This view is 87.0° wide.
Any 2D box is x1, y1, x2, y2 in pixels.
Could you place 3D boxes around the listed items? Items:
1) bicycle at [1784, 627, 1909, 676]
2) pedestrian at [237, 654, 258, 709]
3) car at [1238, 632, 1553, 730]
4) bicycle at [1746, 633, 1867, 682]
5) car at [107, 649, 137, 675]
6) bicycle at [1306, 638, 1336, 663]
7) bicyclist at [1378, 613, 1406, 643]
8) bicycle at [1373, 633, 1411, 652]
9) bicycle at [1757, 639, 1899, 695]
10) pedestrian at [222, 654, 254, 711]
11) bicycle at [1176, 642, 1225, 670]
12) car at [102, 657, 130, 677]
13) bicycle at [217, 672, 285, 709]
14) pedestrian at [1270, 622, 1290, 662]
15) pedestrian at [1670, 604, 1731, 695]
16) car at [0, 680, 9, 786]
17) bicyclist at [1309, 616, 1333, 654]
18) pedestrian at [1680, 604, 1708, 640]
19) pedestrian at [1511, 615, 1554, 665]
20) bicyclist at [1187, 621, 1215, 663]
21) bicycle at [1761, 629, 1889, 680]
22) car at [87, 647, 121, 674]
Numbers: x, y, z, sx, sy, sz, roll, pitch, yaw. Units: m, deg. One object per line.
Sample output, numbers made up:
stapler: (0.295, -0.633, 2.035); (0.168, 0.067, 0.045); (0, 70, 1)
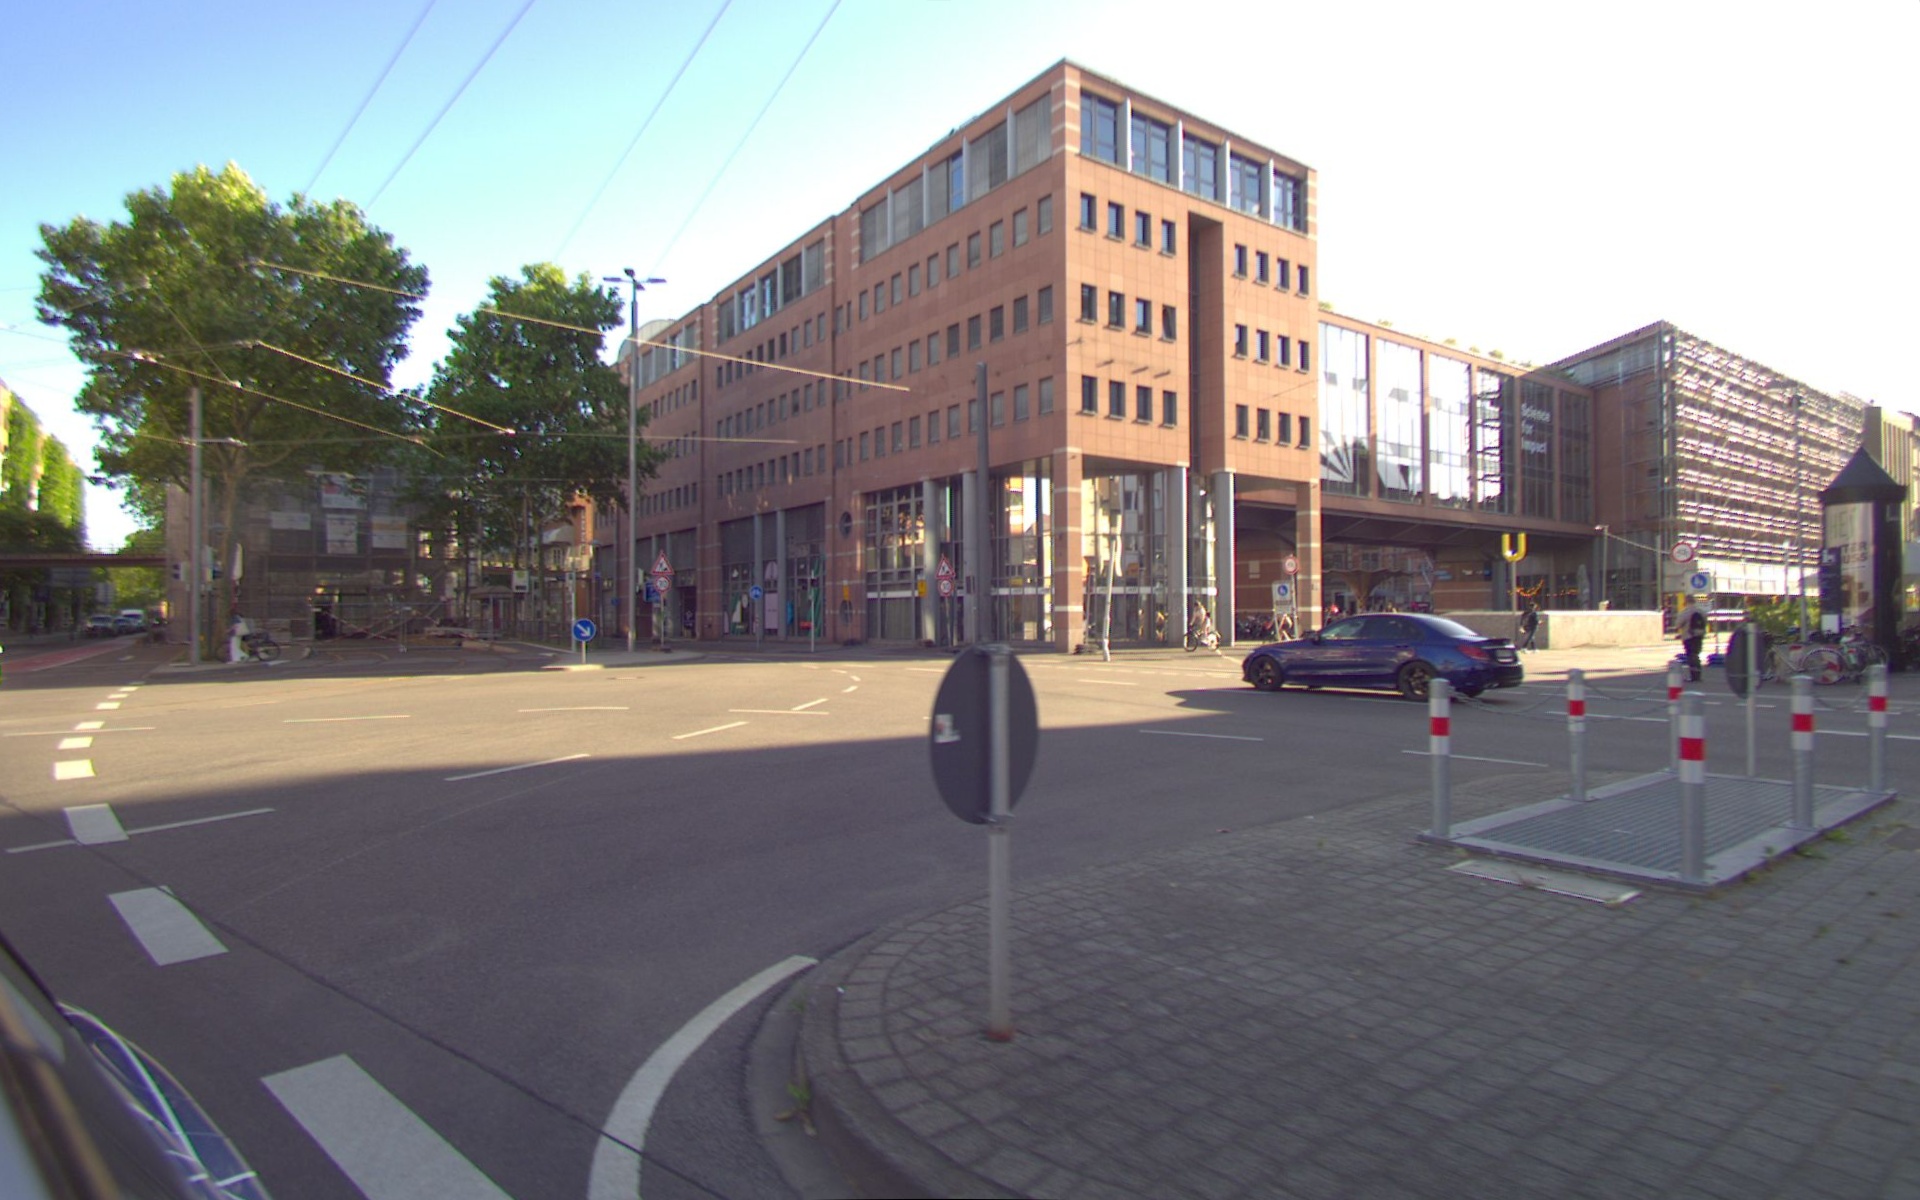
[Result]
bicycle: (20.154, 1.167, 23.061); (0.586, 1.061, 2.012); (0, -2, -32)
pedestrian: (-22.917, 2.609, 32.550); (0.559, 1.692, 0.532); (0, -2, -35)
car: (7.217, 1.269, 17.227); (1.809, 1.396, 4.604); (0, -1, -39)
bicycle: (19.056, 1.292, 22.815); (0.588, 1.061, 2.007); (0, -2, -44)
car: (-89.927, 6.653, 108.622); (2.087, 2.584, 5.919); (0, -1, -36)
bicycle: (13.147, 1.834, 36.815); (0.615, 0.814, 1.998); (-2, -1, 31)
bicyclist: (20.129, 1.316, 47.195); (1.005, 1.350, 0.781); (-1, -2, -38)
bicycle: (20.136, 1.970, 47.153); (1.987, 0.814, 0.781); (-1, -2, -39)
bicycle: (17.067, 1.317, 19.957); (1.997, 1.061, 0.591); (-2, -2, 29)
pedestrian: (-22.685, 2.578, 31.803); (0.768, 1.747, 0.850); (0, -2, -39)
bicycle: (8.692, 2.007, 36.592); (1.933, 0.919, 0.584); (-1, -2, -36)
car: (-79.752, 6.274, 95.652); (1.764, 1.683, 4.450); (0, -1, -37)
bicycle: (-23.099, 2.932, 33.016); (1.805, 1.087, 0.482); (0, -2, -35)
pedestrian: (12.507, 1.636, 39.542); (0.562, 1.548, 0.484); (-2, -2, 37)
pedestrian: (15.213, 1.008, 20.792); (0.620, 1.805, 0.787); (0, -2, -35)
car: (-14.377, 1.970, 13.787); (1.781, 1.512, 4.208); (0, -1, -39)
bicyclist: (13.122, 1.273, 36.806); (0.615, 1.322, 0.947); (-2, -2, 31)
pedestrian: (34.301, 1.024, 47.296); (0.743, 1.678, 0.697); (-1, -2, 3)
pedestrian: (19.570, 1.355, 34.610); (0.895, 1.678, 0.884); (-1, -2, -1)
bicyclist: (8.716, 1.518, 36.636); (0.737, 1.496, 0.584); (0, -2, -36)
bicycle: (18.575, 1.171, 21.793); (2.002, 1.061, 0.589); (-3, -2, 36)
car: (-72.977, 5.107, 86.329); (1.893, 2.094, 5.181); (0, -1, -37)
